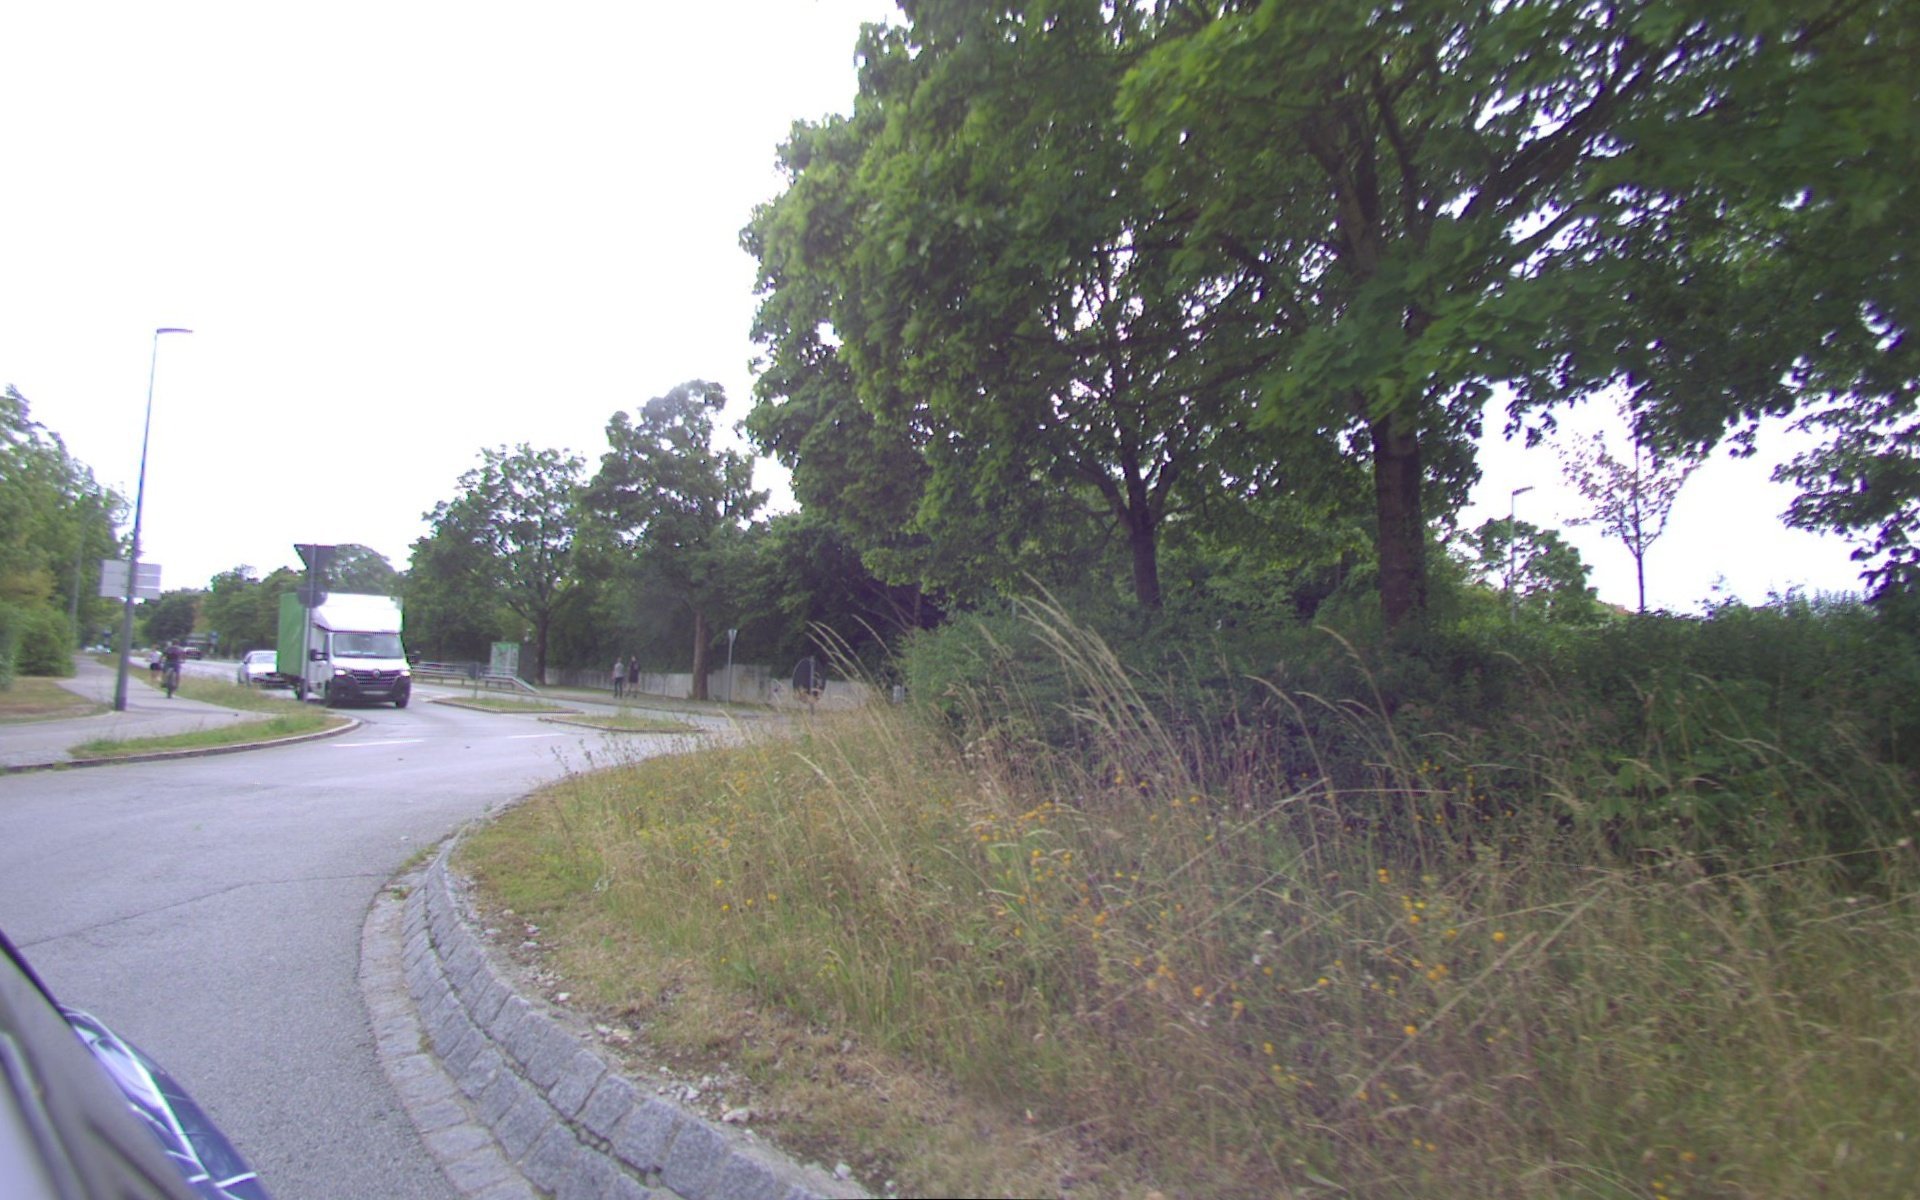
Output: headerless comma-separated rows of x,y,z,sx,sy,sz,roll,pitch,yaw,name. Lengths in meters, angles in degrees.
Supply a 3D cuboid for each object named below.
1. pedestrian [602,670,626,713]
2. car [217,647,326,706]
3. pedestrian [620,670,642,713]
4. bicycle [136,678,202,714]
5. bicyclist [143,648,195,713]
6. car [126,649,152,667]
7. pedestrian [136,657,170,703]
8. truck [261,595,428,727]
-14.756,3.900,43.181,0.594,1.794,0.722,-3,-6,41,pedestrian
-27.442,3.002,40.249,2.577,2.142,5.728,5,-5,-43,car
-14.208,3.938,43.751,0.615,1.823,0.626,-3,-6,41,pedestrian
-22.631,2.742,28.935,2.494,0.882,0.953,-2,-9,41,bicycle
-22.732,2.305,29.078,0.978,1.801,0.801,-2,-9,41,bicyclist
-100.902,7.096,124.353,2.007,2.142,5.728,5,-5,-43,car
-27.543,2.724,34.529,0.841,1.542,0.539,-2,-6,31,pedestrian
-18.595,1.812,30.324,2.577,3.474,7.513,5,-5,-43,truck
